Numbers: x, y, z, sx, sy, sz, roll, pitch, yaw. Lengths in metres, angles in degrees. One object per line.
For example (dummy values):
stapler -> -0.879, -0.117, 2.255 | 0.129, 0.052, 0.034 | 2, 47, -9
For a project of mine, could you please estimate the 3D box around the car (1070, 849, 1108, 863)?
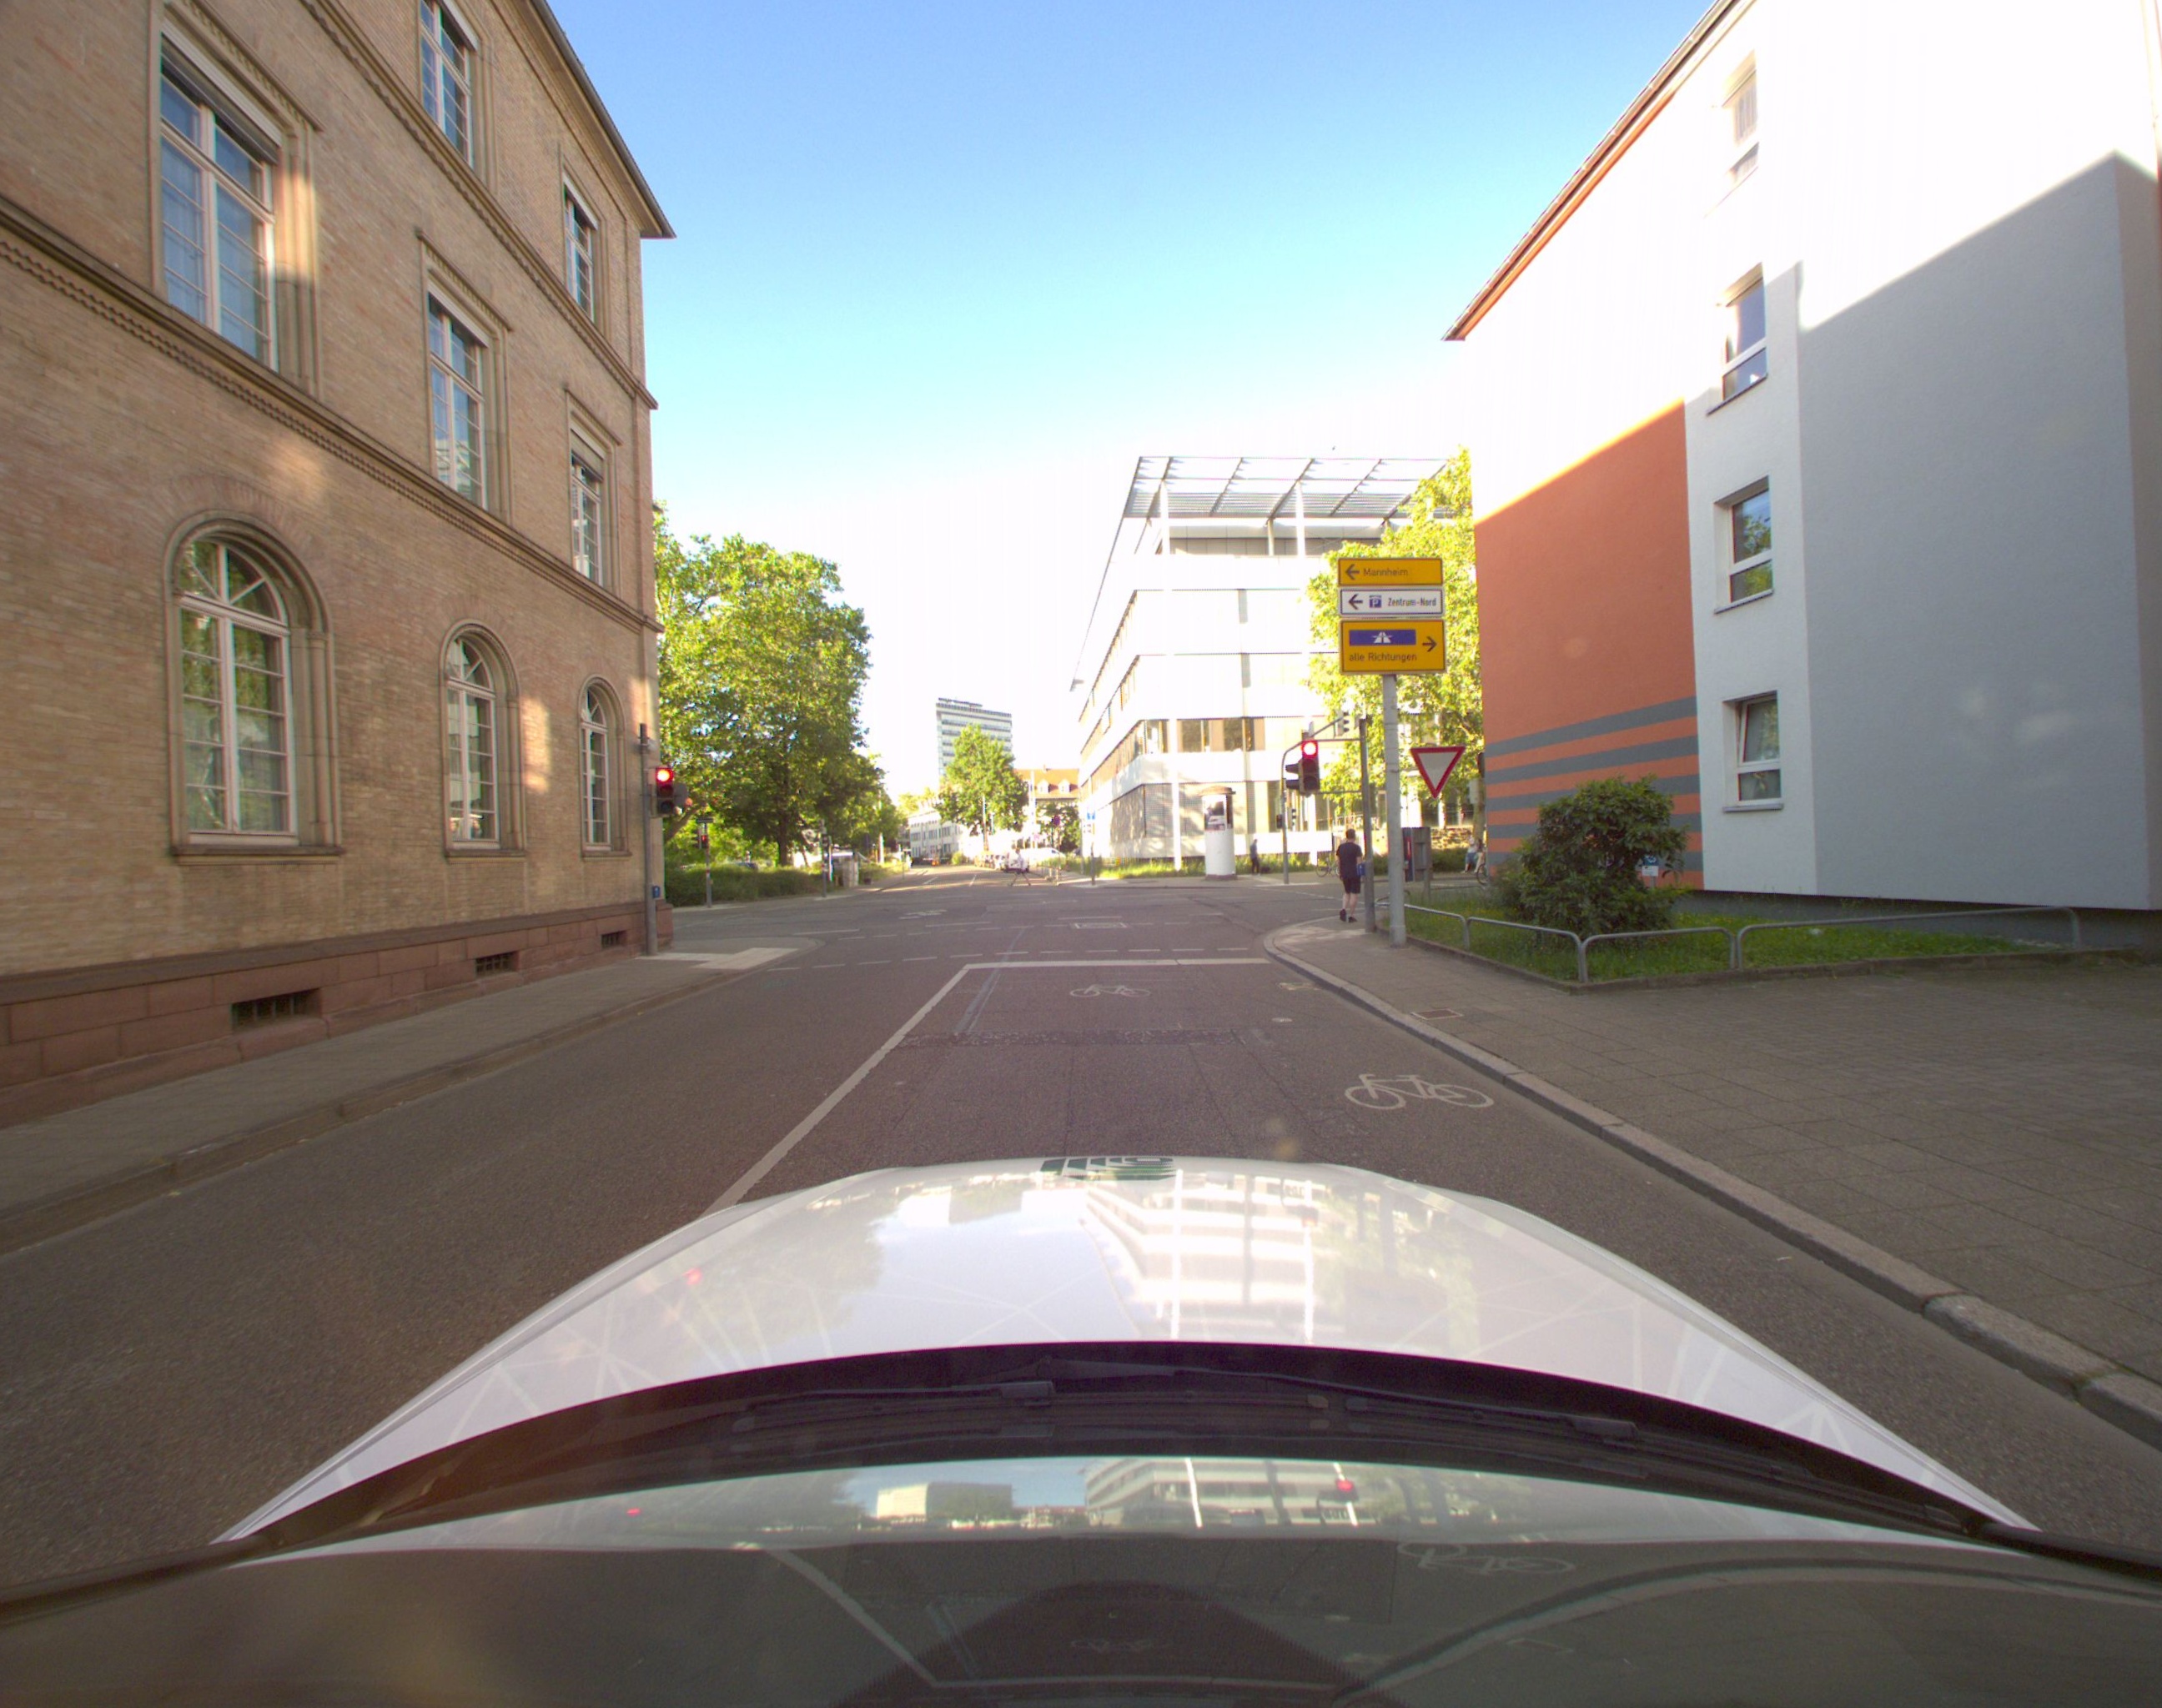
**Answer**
car -> 1.021, 0.248, 104.970 | 4.644, 1.725, 1.990 | 0, -1, -15

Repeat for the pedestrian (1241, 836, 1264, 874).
pedestrian -> 8.185, 0.046, 38.884 | 0.913, 1.815, 0.760 | 0, -1, -7

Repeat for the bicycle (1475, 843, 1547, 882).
bicycle -> 13.794, 0.267, 26.165 | 1.953, 1.152, 0.593 | -2, 0, 7

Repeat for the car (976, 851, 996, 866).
car -> -11.302, 0.535, 96.317 | 1.995, 1.725, 4.633 | 0, -1, -11

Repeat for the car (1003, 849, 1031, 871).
car -> -5.171, 0.465, 65.132 | 1.992, 1.725, 4.640 | 0, -1, -7

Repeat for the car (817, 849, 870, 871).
car -> -22.024, 0.532, 75.782 | 4.441, 2.014, 1.995 | 0, -1, -8

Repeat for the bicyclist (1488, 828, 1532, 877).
bicyclist -> 13.775, -0.049, 26.174 | 1.069, 1.527, 0.593 | -2, 0, 7

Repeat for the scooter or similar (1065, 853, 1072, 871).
scooter or similar -> -0.912, 0.576, 58.490 | 0.436, 1.256, 1.418 | -2, 0, -2

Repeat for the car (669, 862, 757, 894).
car -> -17.081, 1.096, 37.916 | 3.407, 1.457, 1.646 | 0, -1, -8

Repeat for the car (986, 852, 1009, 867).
car -> -8.885, 0.588, 86.393 | 1.994, 1.499, 4.635 | 0, -1, -10

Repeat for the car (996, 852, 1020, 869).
car -> -6.920, 0.605, 77.167 | 1.993, 1.499, 4.638 | 0, -1, -8

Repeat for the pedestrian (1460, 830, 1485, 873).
pedestrian -> 16.642, -0.097, 34.599 | 0.761, 1.795, 0.648 | 0, -1, 4

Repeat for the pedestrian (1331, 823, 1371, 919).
pedestrian -> 5.245, 0.333, 15.820 | 0.693, 1.810, 0.723 | -1, -1, 21

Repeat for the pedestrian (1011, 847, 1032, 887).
pedestrian -> -2.767, 0.609, 37.970 | 0.911, 1.869, 0.743 | 0, -1, 1

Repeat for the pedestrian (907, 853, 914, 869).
pedestrian -> -17.874, 0.732, 85.308 | 0.700, 1.587, 0.633 | 0, -1, -14

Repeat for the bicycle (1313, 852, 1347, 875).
bicycle -> 11.009, 0.417, 36.042 | 0.381, 1.008, 1.416 | -2, 0, -40

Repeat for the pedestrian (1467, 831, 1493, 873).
pedestrian -> 16.596, -0.066, 33.883 | 0.761, 1.719, 0.648 | 0, -1, 4

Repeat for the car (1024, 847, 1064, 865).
car -> -4.685, 0.267, 103.264 | 4.802, 2.159, 1.989 | 0, -1, -16

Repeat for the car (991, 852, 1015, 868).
car -> -7.843, 0.582, 81.641 | 1.994, 1.499, 4.270 | 0, -1, -11
